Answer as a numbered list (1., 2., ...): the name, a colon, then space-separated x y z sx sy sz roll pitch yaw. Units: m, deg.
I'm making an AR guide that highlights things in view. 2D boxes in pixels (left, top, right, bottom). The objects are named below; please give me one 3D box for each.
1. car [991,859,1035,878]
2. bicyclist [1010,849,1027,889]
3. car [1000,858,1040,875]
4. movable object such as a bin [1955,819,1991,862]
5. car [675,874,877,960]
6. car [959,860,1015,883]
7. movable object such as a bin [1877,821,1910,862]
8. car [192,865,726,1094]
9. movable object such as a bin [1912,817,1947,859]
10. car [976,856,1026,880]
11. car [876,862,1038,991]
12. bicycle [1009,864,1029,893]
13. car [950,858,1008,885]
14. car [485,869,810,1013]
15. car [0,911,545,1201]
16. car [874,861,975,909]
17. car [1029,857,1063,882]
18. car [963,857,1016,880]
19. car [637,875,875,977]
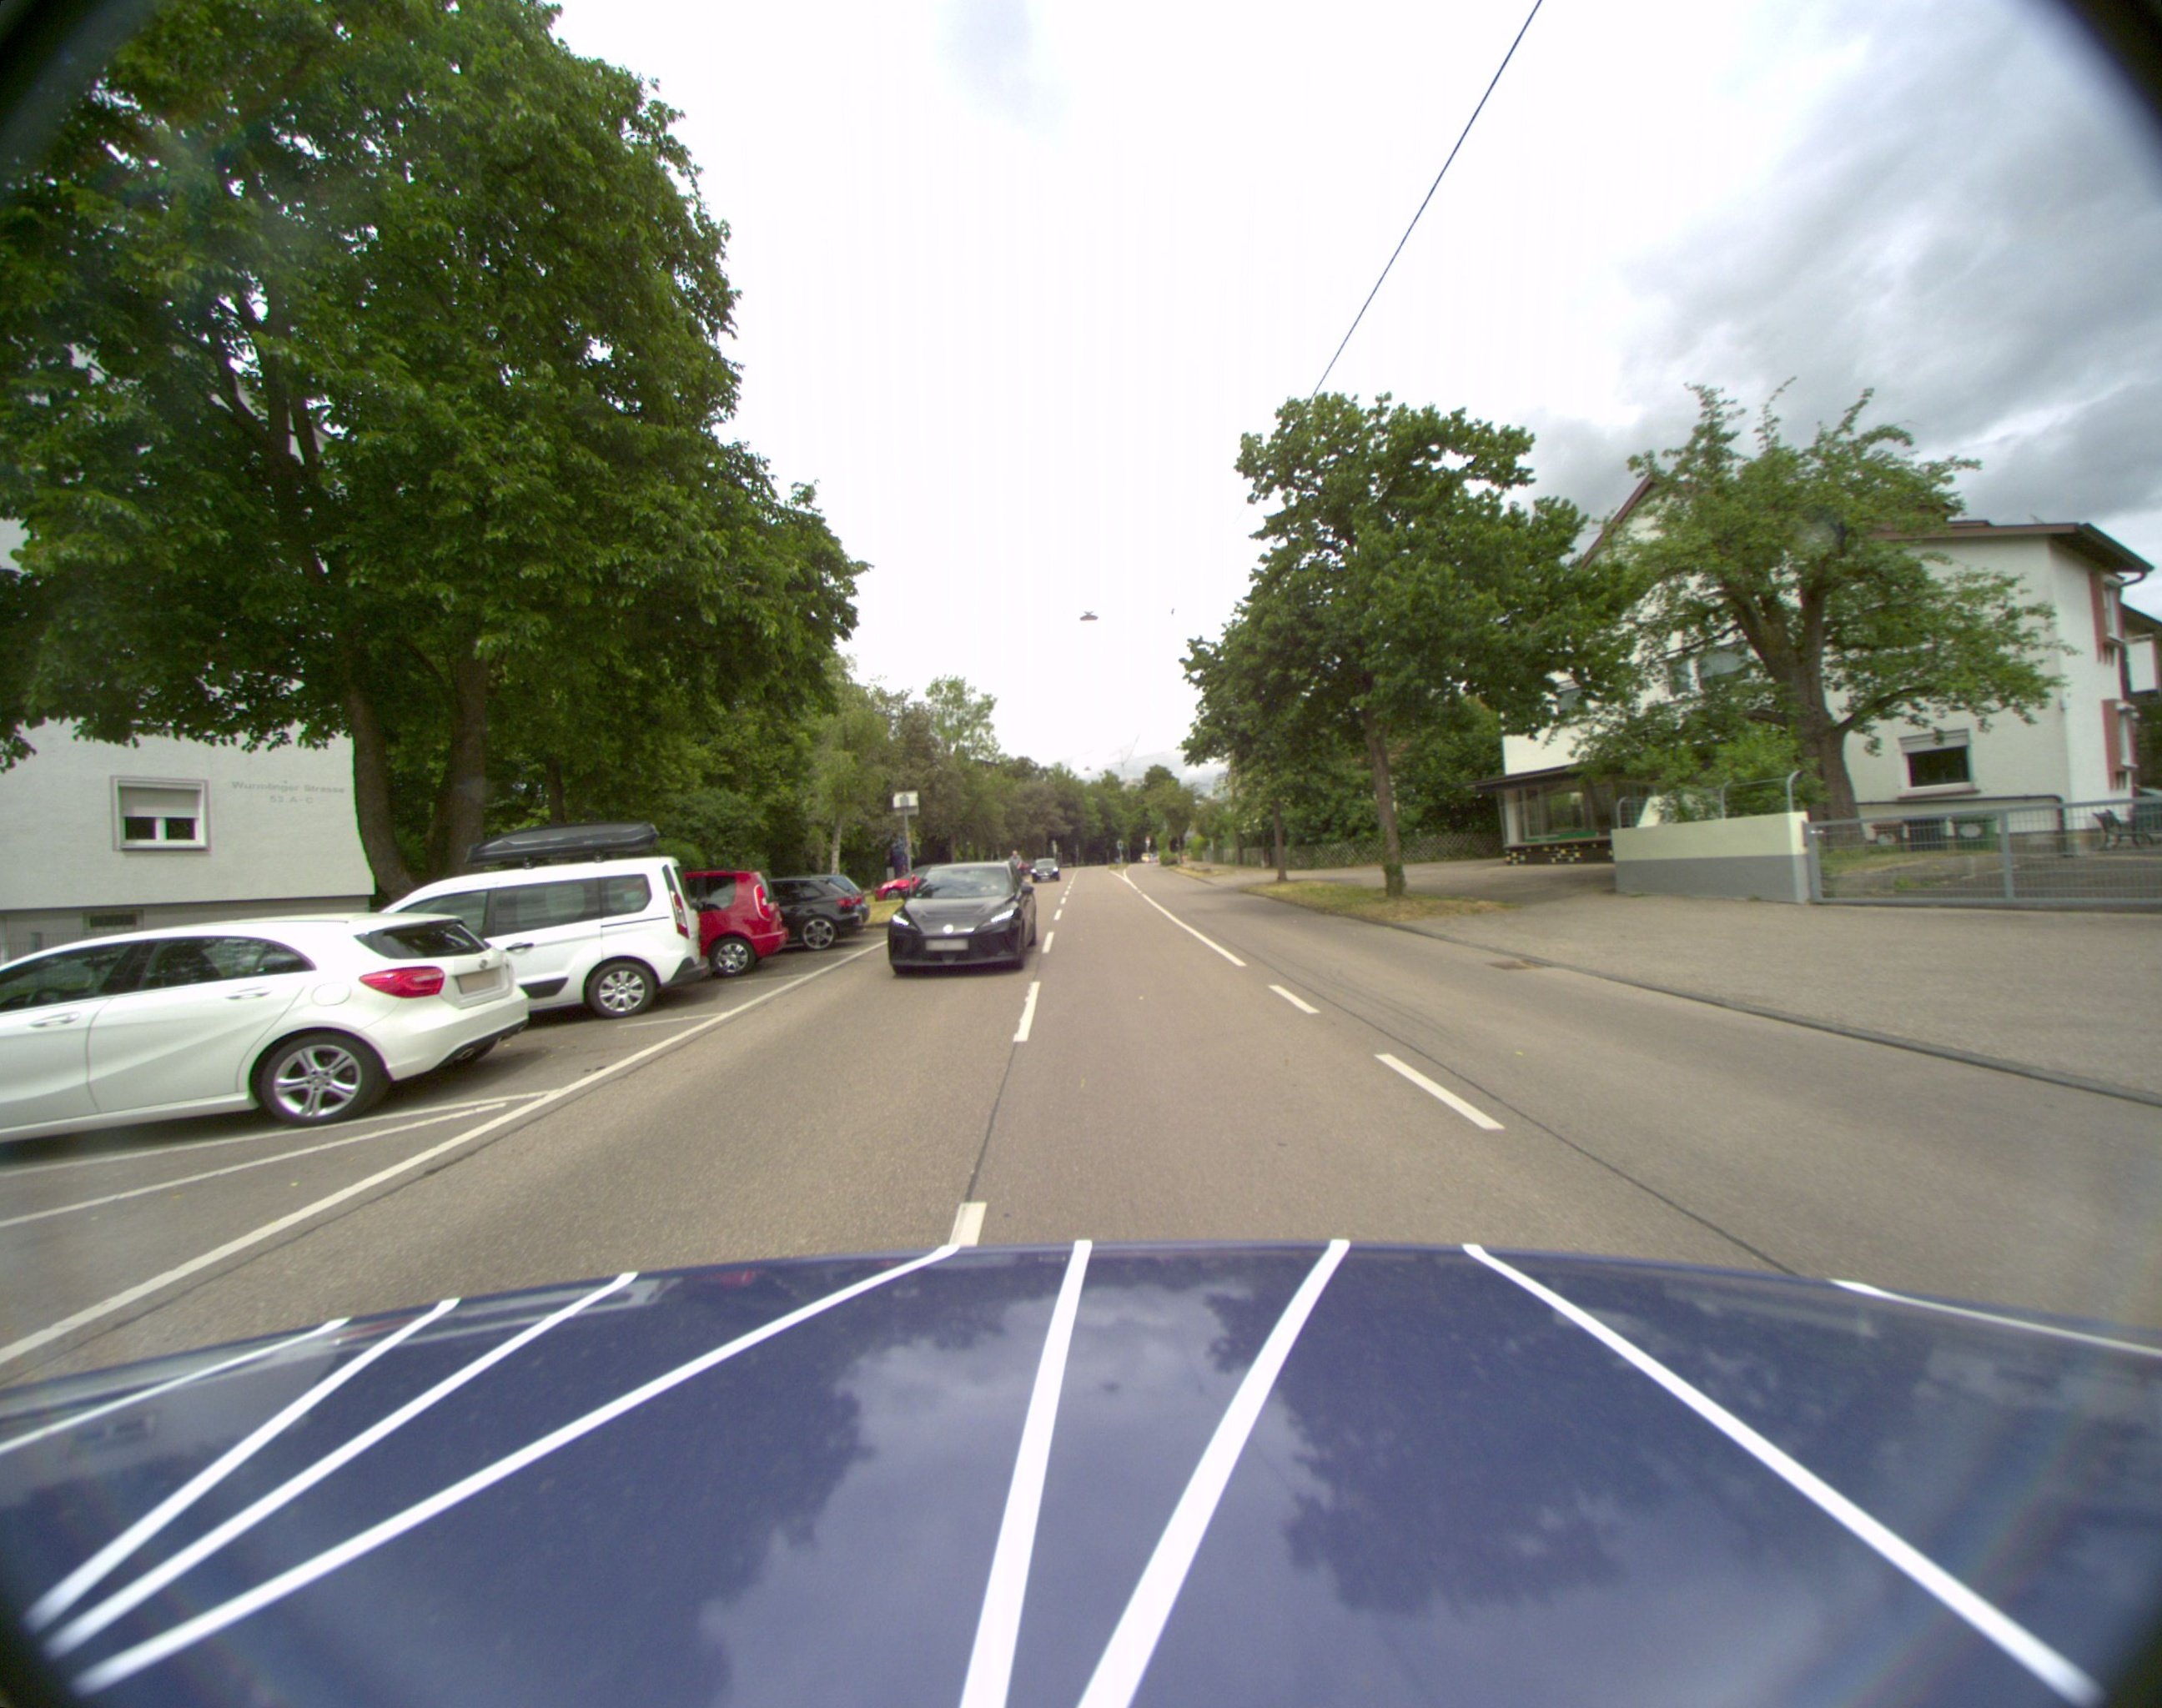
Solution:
1. car: -6.188 1.290 69.164 3.857 1.379 1.654 -4 1 -8
2. bicyclist: -2.833 0.684 34.383 0.648 1.769 0.627 -3 1 -11
3. car: -6.219 1.252 76.761 3.857 1.379 1.654 -4 1 -8
4. movable object such as a bin: 18.732 -0.279 15.955 0.460 0.877 0.388 -4 1 -29
5. car: -6.576 1.321 16.830 3.859 1.426 1.653 -5 1 -14
6. car: -6.860 1.267 55.540 3.857 1.379 1.654 -4 1 -8
7. movable object such as a bin: 18.314 -0.279 17.130 0.460 0.877 0.388 -4 1 -29
8. car: -6.443 1.176 8.614 4.226 1.748 1.856 -5 1 -24
9. movable object such as a bin: 18.485 -0.355 16.546 0.460 0.877 0.388 -4 1 -29
10. car: -6.471 1.112 61.236 3.857 1.634 1.654 -4 1 -8
11. car: -1.697 0.954 11.617 1.813 1.484 3.792 -3 1 -1
12. bicycle: -2.802 1.099 34.315 0.648 1.230 1.875 -3 0 -11
13. car: -7.059 1.207 52.691 3.857 1.553 1.654 -4 1 -8
14. car: -6.354 1.209 11.660 3.859 1.634 1.851 -5 1 -14
15. car: -6.484 1.355 5.440 3.859 1.430 1.714 -5 1 -14
16. car: -6.571 1.265 31.867 3.860 1.603 1.652 -5 1 -20
17. car: -2.208 0.954 48.625 1.861 1.366 4.076 -3 0 1
18. car: -6.930 1.097 57.786 3.857 1.379 1.654 -4 1 -8
19. car: -5.992 1.295 14.480 3.859 1.426 1.653 -5 1 -14
